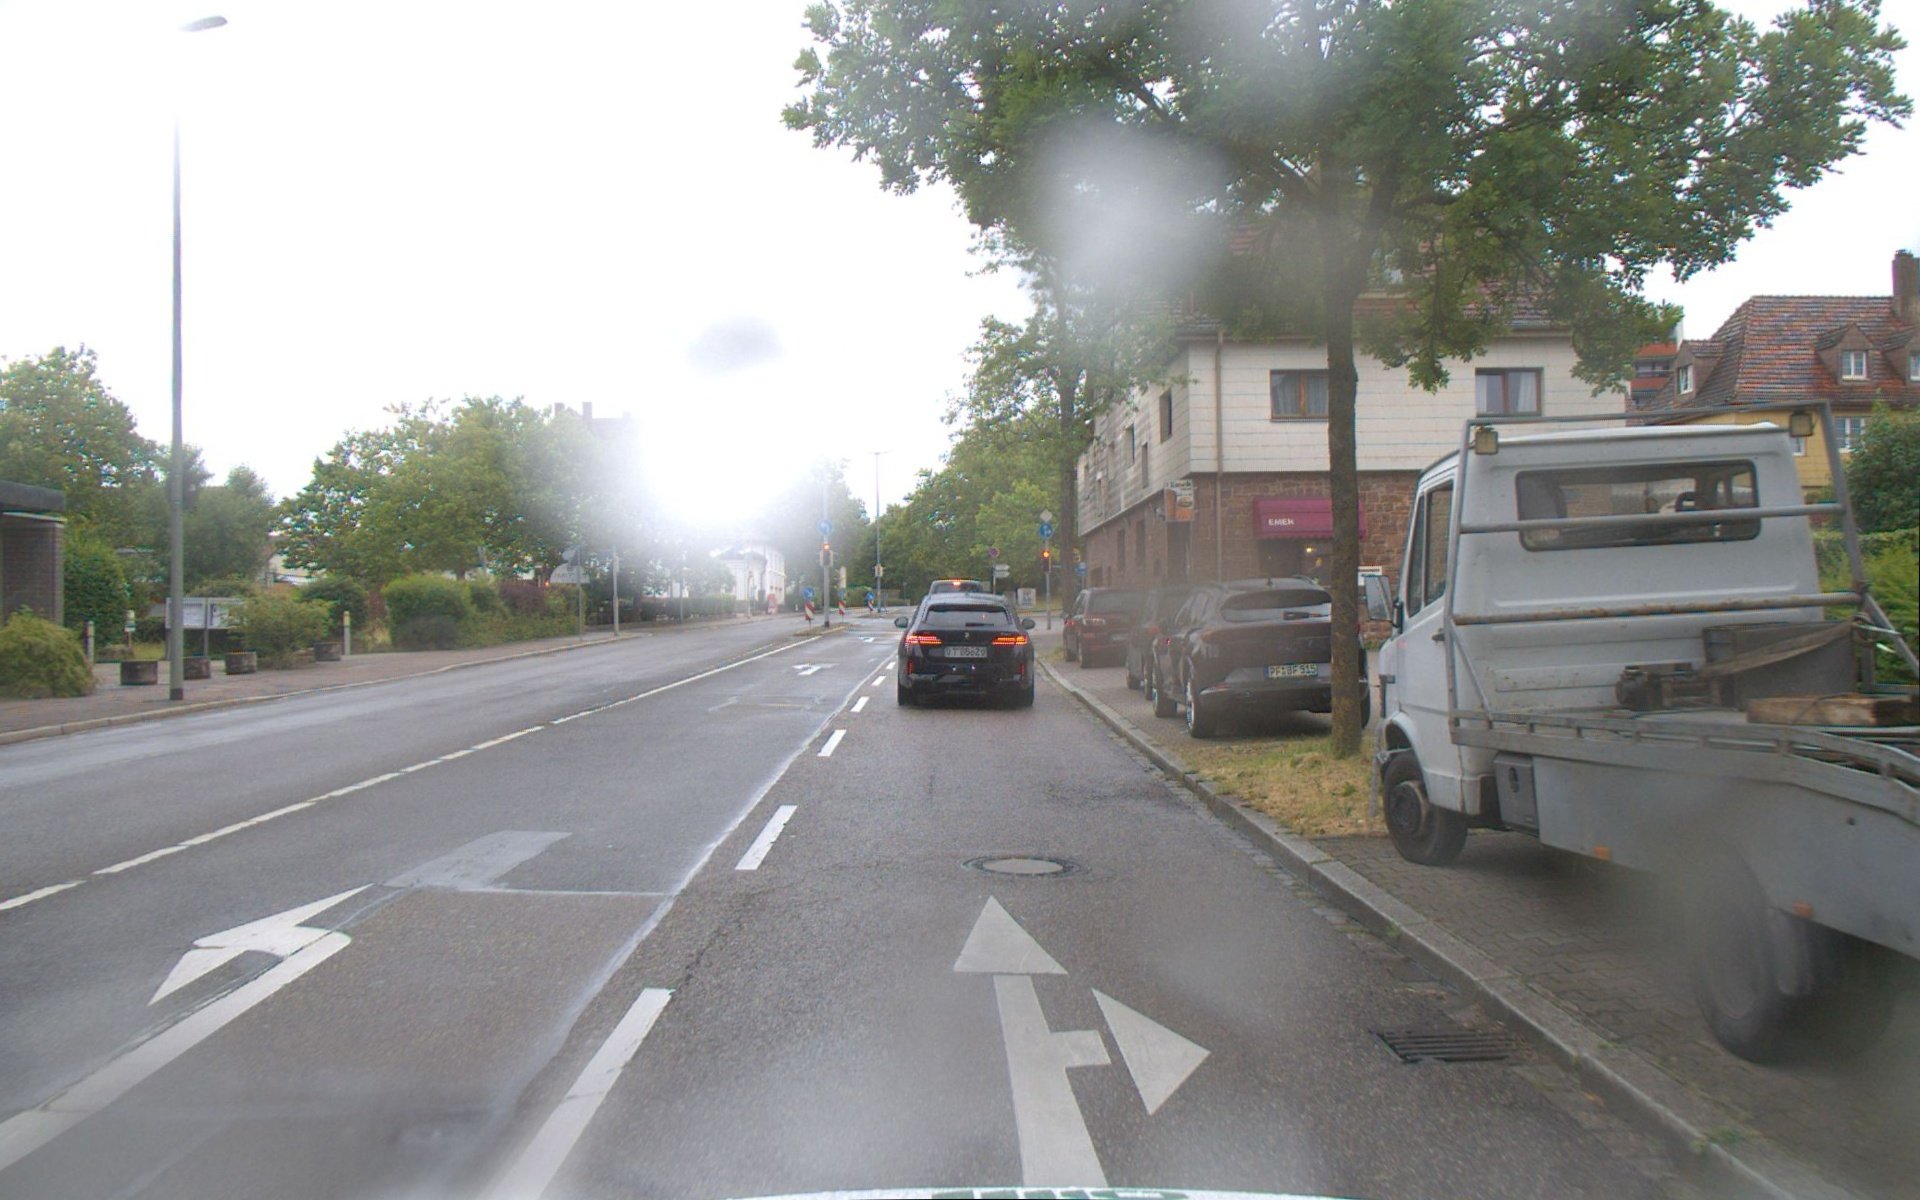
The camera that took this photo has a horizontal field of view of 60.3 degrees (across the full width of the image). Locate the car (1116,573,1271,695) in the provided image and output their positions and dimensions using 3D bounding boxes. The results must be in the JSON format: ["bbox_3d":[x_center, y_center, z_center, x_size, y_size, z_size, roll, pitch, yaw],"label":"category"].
[{"bbox_3d":[3.234,0.419,23.549,1.572,1.497,3.856,-4,1,0],"label":"car"}]

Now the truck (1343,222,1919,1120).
[{"bbox_3d":[3.360,0.122,6.255,2.038,2.260,6.500,-3,1,-2],"label":"truck"}]

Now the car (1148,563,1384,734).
[{"bbox_3d":[3.133,0.436,17.750,1.679,1.524,4.183,-3,1,0],"label":"car"}]

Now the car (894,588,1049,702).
[{"bbox_3d":[0.074,0.578,23.902,2.023,1.472,4.481,1,0,-2],"label":"car"}]

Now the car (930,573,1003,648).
[{"bbox_3d":[0.129,0.231,42.650,1.748,1.849,3.999,0,1,-2],"label":"car"}]

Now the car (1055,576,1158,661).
[{"bbox_3d":[2.882,0.327,33.191,1.552,1.516,3.626,-4,1,-2],"label":"car"}]
